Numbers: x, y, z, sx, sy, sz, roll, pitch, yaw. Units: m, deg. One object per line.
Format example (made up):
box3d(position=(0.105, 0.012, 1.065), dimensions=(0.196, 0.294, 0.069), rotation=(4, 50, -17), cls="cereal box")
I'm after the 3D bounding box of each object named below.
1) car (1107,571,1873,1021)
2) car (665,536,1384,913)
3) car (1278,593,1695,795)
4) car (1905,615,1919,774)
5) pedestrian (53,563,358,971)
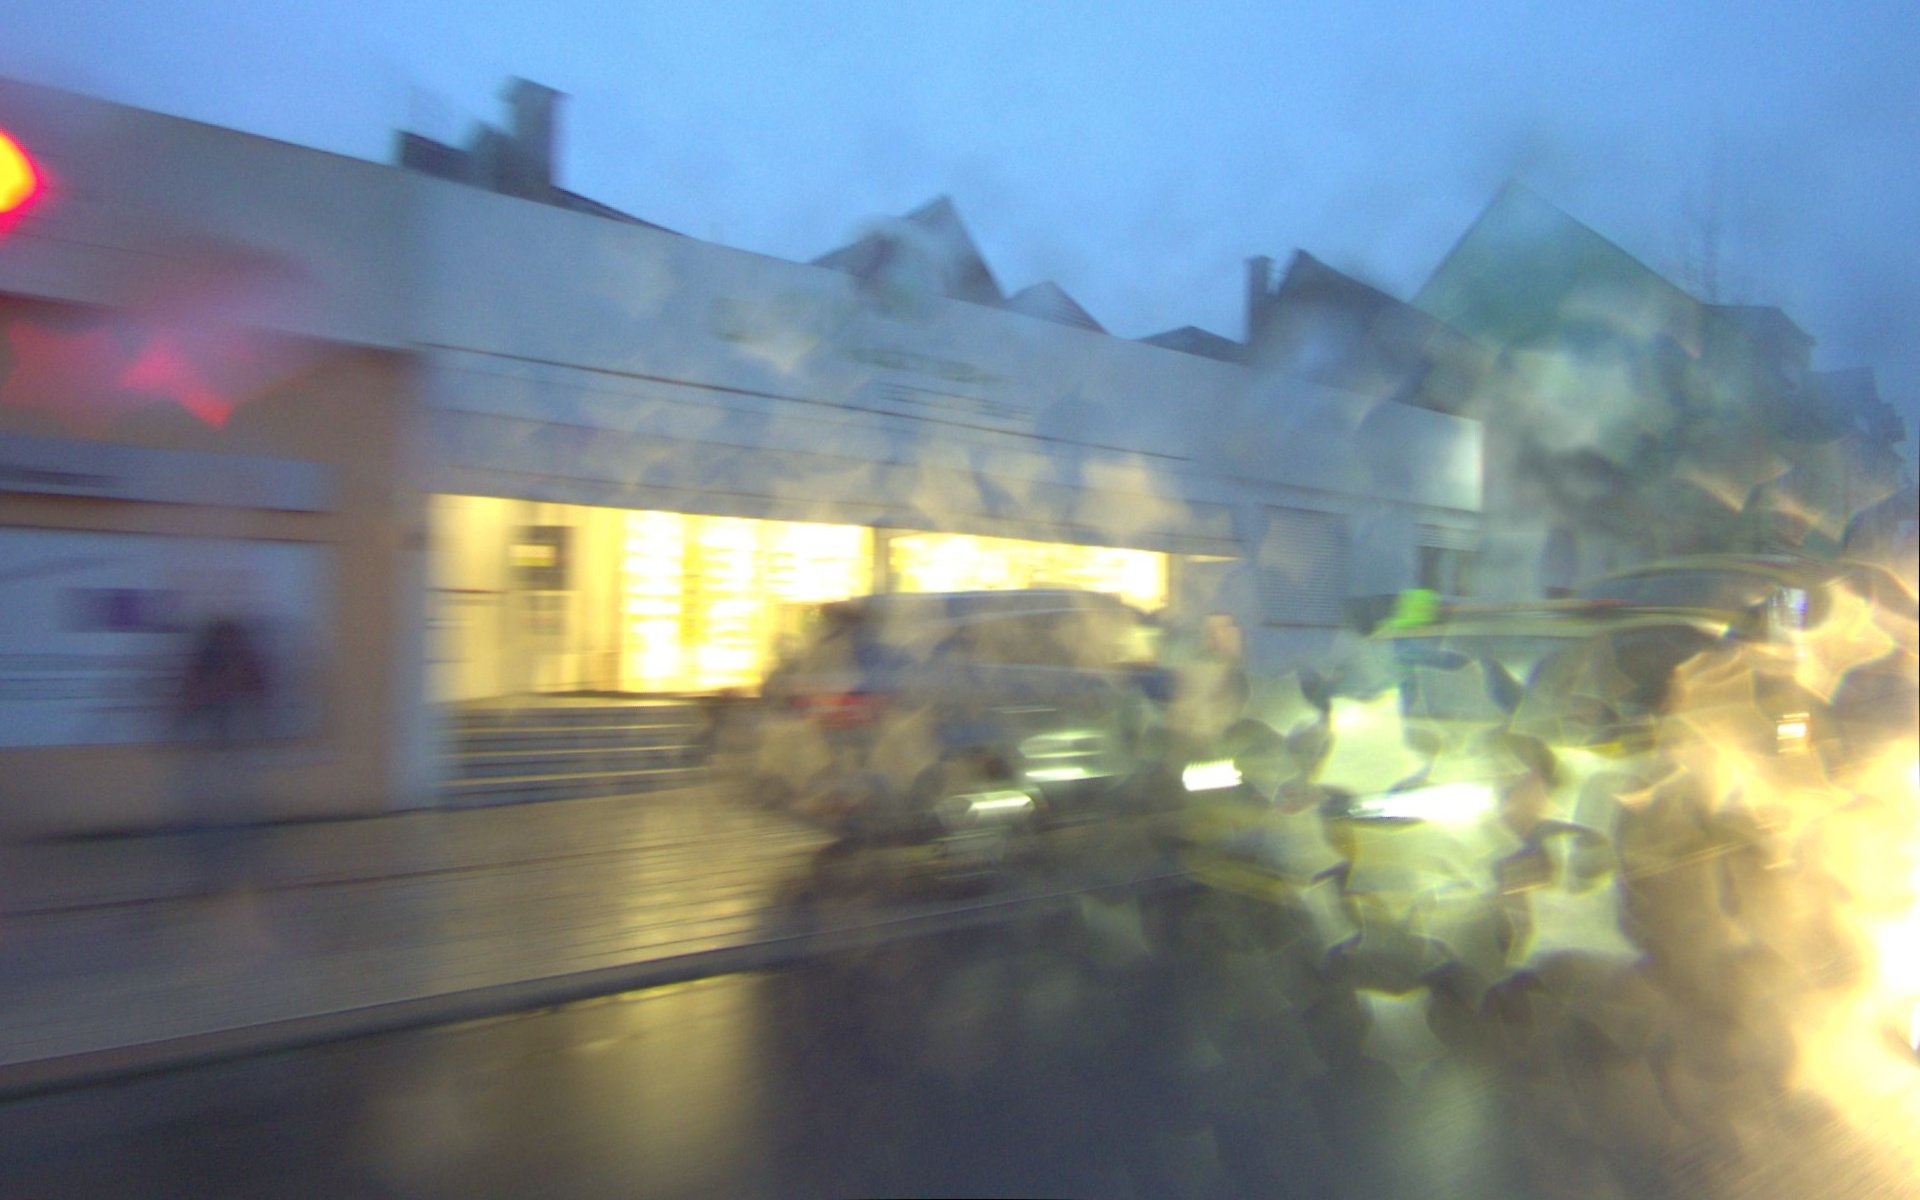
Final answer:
box3d(position=(3.396, 0.722, 6.063), dimensions=(4.914, 1.729, 1.981), rotation=(0, 2, -34), cls="car")
box3d(position=(0.687, 0.626, 7.165), dimensions=(4.975, 1.816, 2.071), rotation=(1, 0, -36), cls="car")
box3d(position=(5.699, 0.850, 10.694), dimensions=(4.661, 1.733, 1.870), rotation=(1, 0, -33), cls="car")
box3d(position=(11.833, 0.860, 10.634), dimensions=(4.374, 1.567, 1.938), rotation=(-2, -1, -37), cls="car")
box3d(position=(-3.883, 0.791, 5.292), dimensions=(0.927, 1.901, 1.010), rotation=(1, 0, -14), cls="pedestrian")
